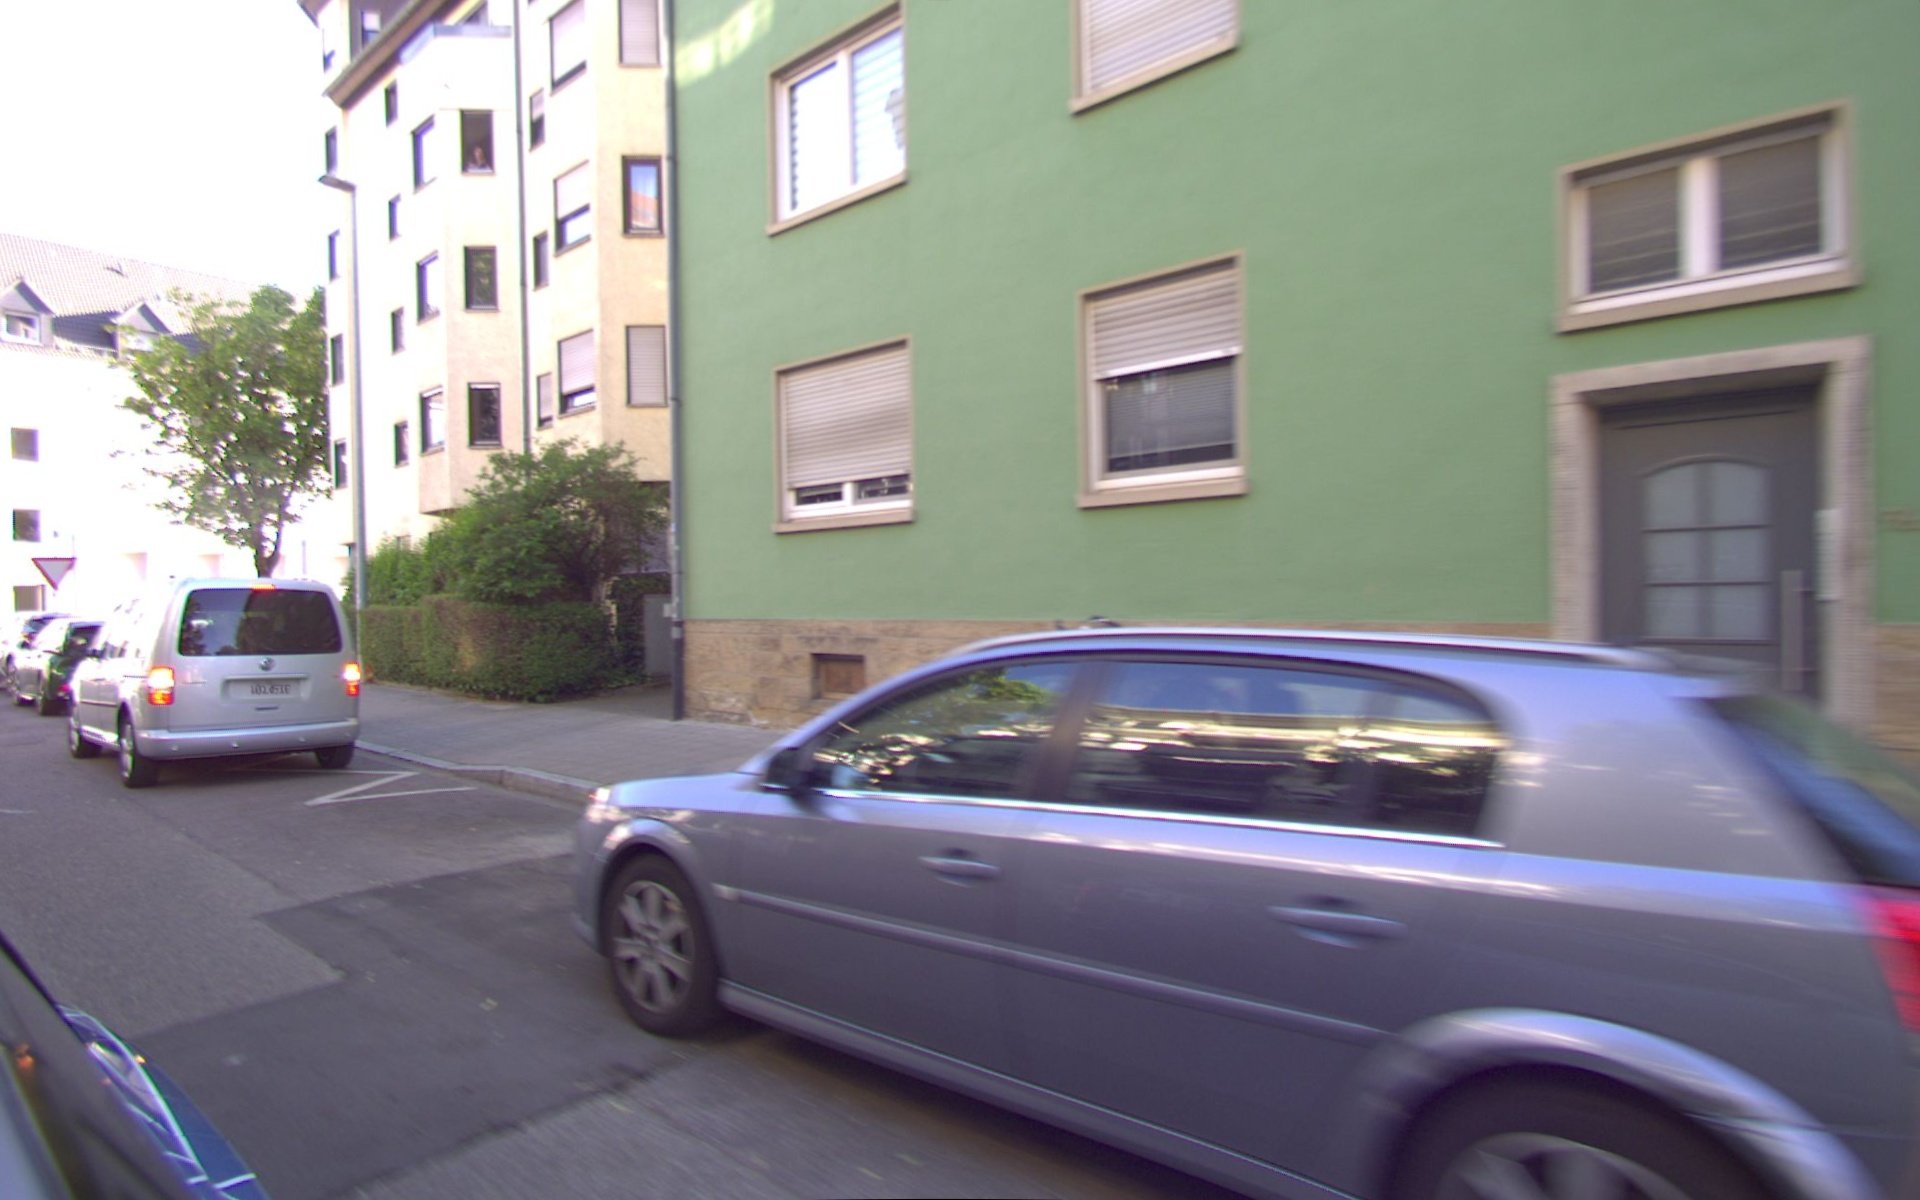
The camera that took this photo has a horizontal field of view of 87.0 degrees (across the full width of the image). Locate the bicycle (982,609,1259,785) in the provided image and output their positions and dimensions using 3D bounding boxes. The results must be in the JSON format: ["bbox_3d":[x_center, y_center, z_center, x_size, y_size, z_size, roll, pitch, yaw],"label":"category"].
[{"bbox_3d":[1.093,0.625,7.257,1.969,1.083,0.482,0,4,41],"label":"bicycle"}]

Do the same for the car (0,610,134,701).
[{"bbox_3d":[-17.687,1.007,19.533,4.065,1.567,1.703,-1,-2,36],"label":"car"}]

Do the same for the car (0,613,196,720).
[{"bbox_3d":[-13.696,0.982,15.969,4.204,1.464,1.748,-1,-3,41],"label":"car"}]

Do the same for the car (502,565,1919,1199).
[{"bbox_3d":[0.438,0.725,3.351,4.501,1.473,1.703,-1,-2,39],"label":"car"}]

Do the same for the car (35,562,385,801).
[{"bbox_3d":[-7.510,0.657,9.967,4.412,1.857,1.753,0,-1,40],"label":"car"}]

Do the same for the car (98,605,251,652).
[{"bbox_3d":[-30.366,1.064,39.257,1.993,1.569,4.240,-1,1,32],"label":"car"}]
